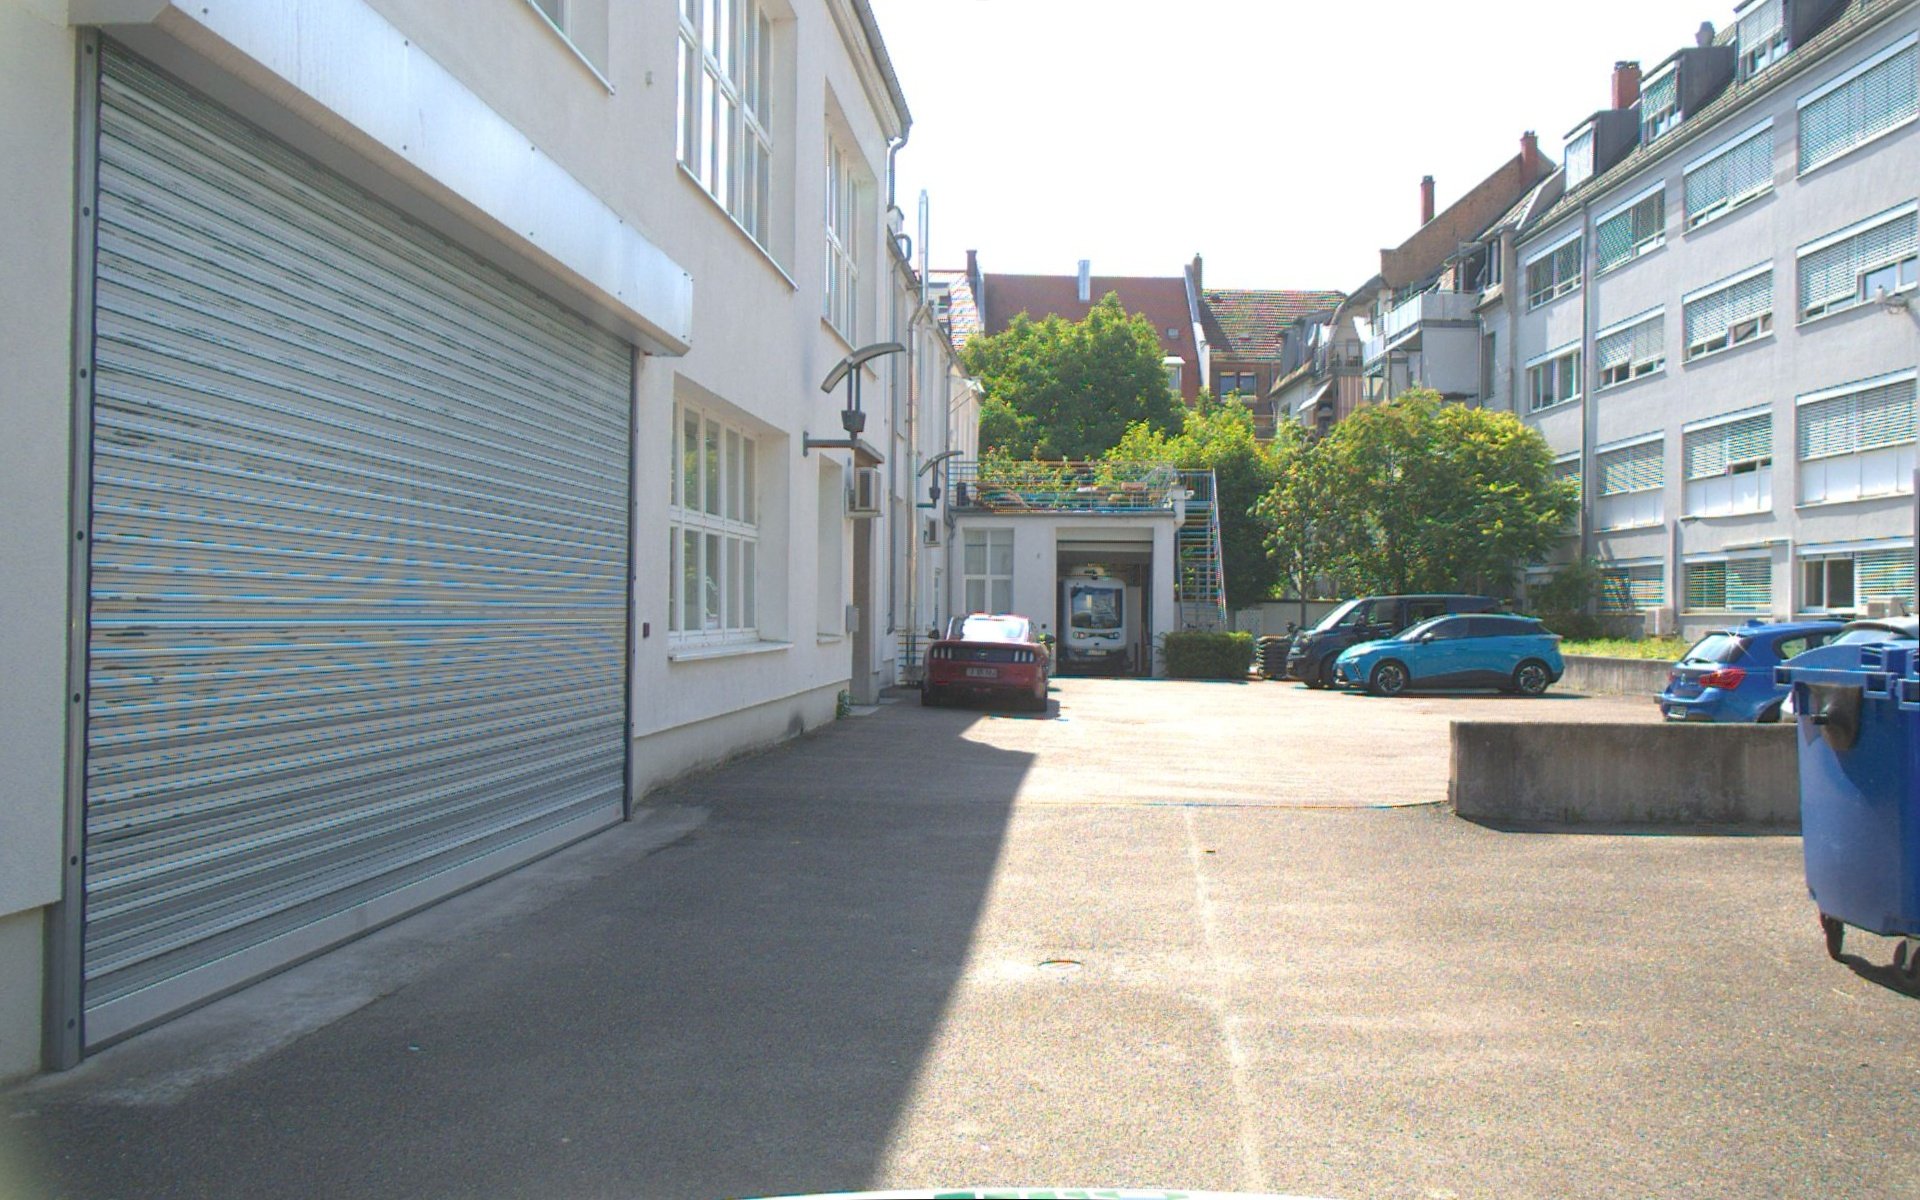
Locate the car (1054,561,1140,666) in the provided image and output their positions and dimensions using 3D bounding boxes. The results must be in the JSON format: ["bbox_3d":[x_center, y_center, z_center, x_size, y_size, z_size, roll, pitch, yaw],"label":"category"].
[{"bbox_3d":[3.766,0.400,45.216,2.128,2.653,6.738,-1,-1,5],"label":"car"}]

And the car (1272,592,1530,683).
[{"bbox_3d":[9.318,0.755,35.144,4.858,1.798,2.093,-1,0,-8],"label":"car"}]

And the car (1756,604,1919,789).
[{"bbox_3d":[9.054,0.749,13.850,3.904,1.452,1.812,0,-1,2],"label":"car"}]

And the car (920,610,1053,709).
[{"bbox_3d":[0.490,0.862,25.576,1.813,1.342,4.002,2,0,4],"label":"car"}]

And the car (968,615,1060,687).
[{"bbox_3d":[1.108,0.958,32.395,1.580,1.318,3.761,0,0,5],"label":"car"}]

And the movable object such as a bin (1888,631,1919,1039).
[{"bbox_3d":[3.691,0.737,4.923,1.221,1.342,1.143,-2,-2,6],"label":"movable object such as a bin"}]

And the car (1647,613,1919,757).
[{"bbox_3d":[9.454,0.849,17.225,3.903,1.418,1.690,0,-1,4],"label":"car"}]

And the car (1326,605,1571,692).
[{"bbox_3d":[9.334,0.910,31.876,4.141,1.559,2.000,-1,0,1],"label":"car"}]

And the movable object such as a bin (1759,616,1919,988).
[{"bbox_3d":[4.126,0.757,6.722,1.221,1.379,1.129,0,-1,2],"label":"movable object such as a bin"}]
